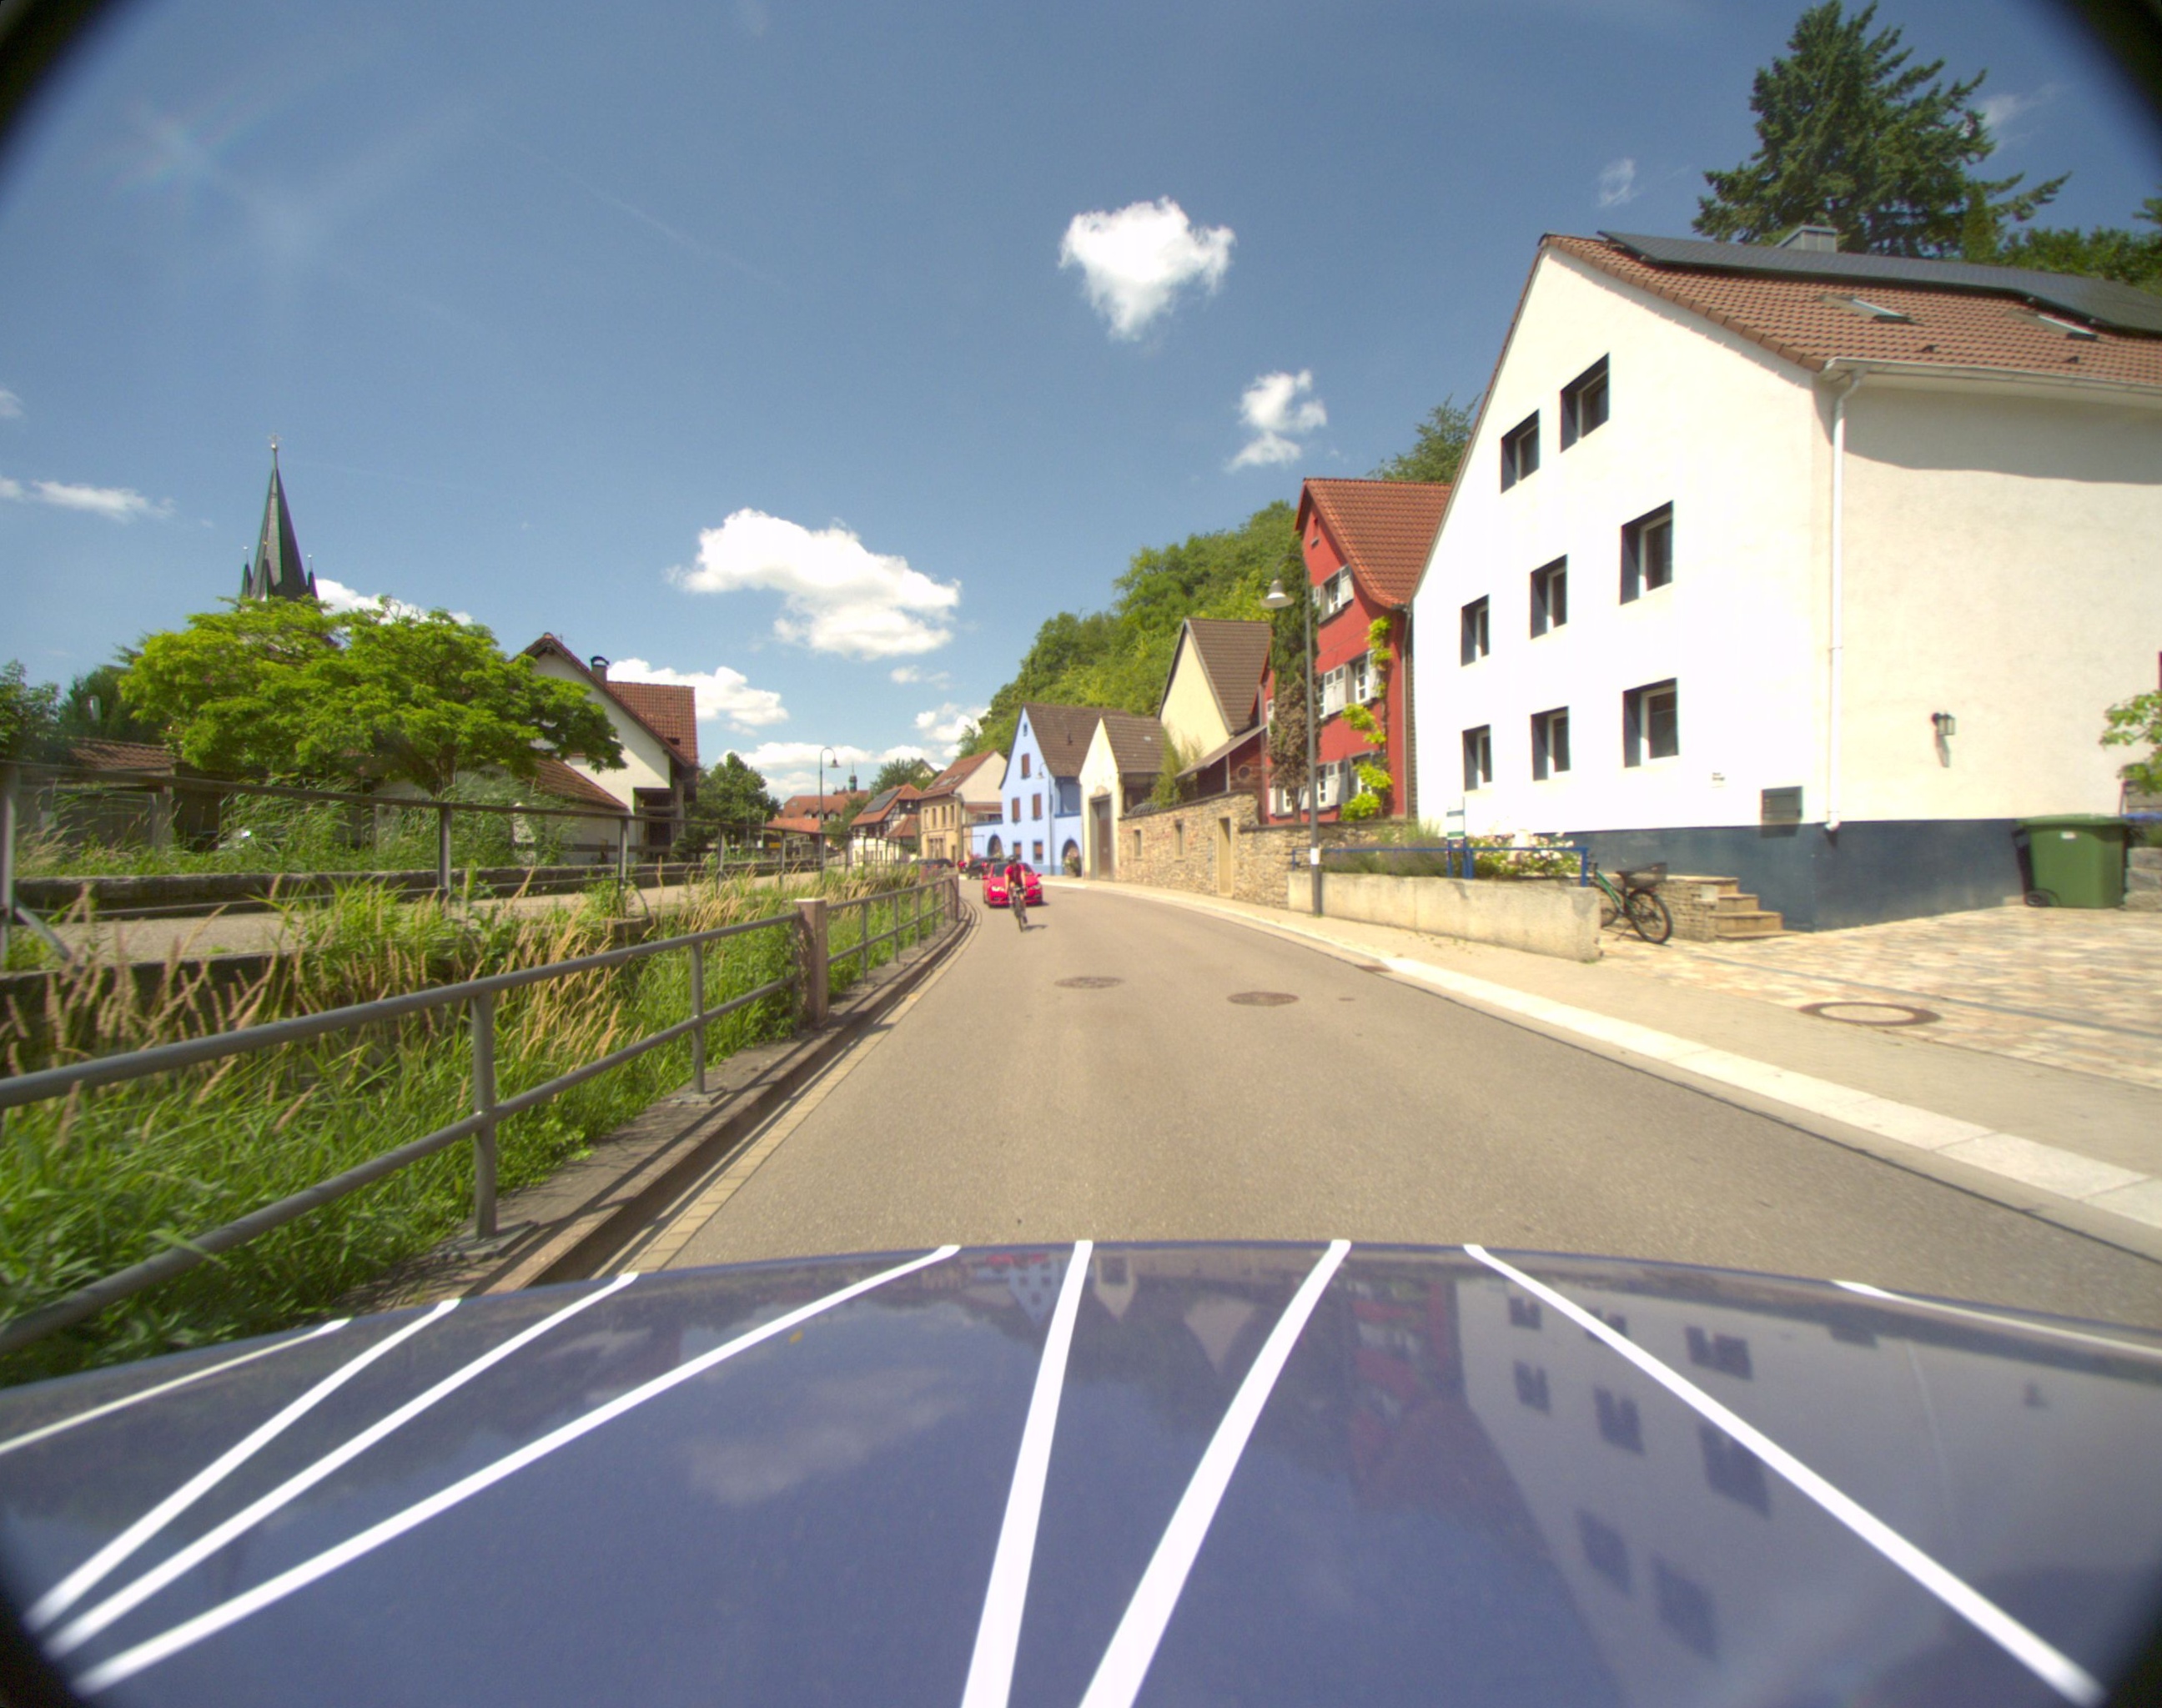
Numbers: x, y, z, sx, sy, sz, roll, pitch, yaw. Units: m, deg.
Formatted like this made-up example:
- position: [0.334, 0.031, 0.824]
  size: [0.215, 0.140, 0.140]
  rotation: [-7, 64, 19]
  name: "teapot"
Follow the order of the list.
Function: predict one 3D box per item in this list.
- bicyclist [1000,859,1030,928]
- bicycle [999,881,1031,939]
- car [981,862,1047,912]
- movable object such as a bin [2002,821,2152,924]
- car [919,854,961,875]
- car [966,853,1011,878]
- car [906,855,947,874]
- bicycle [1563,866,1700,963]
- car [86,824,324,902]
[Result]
- position: [-1.389, 0.822, 16.048]
  size: [0.532, 1.396, 0.755]
  rotation: [-2, 0, -2]
  name: "bicyclist"
- position: [-1.382, 1.151, 16.181]
  size: [0.531, 1.070, 2.053]
  rotation: [-2, 0, -2]
  name: "bicycle"
- position: [-2.218, 0.998, 24.486]
  size: [1.671, 1.344, 3.490]
  rotation: [-3, 1, -12]
  name: "car"
- position: [11.332, 0.203, 8.673]
  size: [0.638, 1.106, 0.837]
  rotation: [1, 1, -15]
  name: "movable object such as a bin"
- position: [-11.135, 0.839, 59.635]
  size: [1.893, 1.456, 4.658]
  rotation: [-5, 2, -27]
  name: "car"
- position: [-6.221, 0.726, 50.614]
  size: [1.724, 1.521, 3.848]
  rotation: [-5, 2, -25]
  name: "car"
- position: [-13.056, 0.878, 64.039]
  size: [1.966, 1.457, 4.534]
  rotation: [-2, 2, -30]
  name: "car"
- position: [6.698, 0.698, 9.337]
  size: [0.509, 0.967, 1.539]
  rotation: [-7, 2, 1]
  name: "bicycle"
- position: [-19.070, 0.197, 16.617]
  size: [3.510, 1.517, 1.759]
  rotation: [-2, 0, 9]
  name: "car"
